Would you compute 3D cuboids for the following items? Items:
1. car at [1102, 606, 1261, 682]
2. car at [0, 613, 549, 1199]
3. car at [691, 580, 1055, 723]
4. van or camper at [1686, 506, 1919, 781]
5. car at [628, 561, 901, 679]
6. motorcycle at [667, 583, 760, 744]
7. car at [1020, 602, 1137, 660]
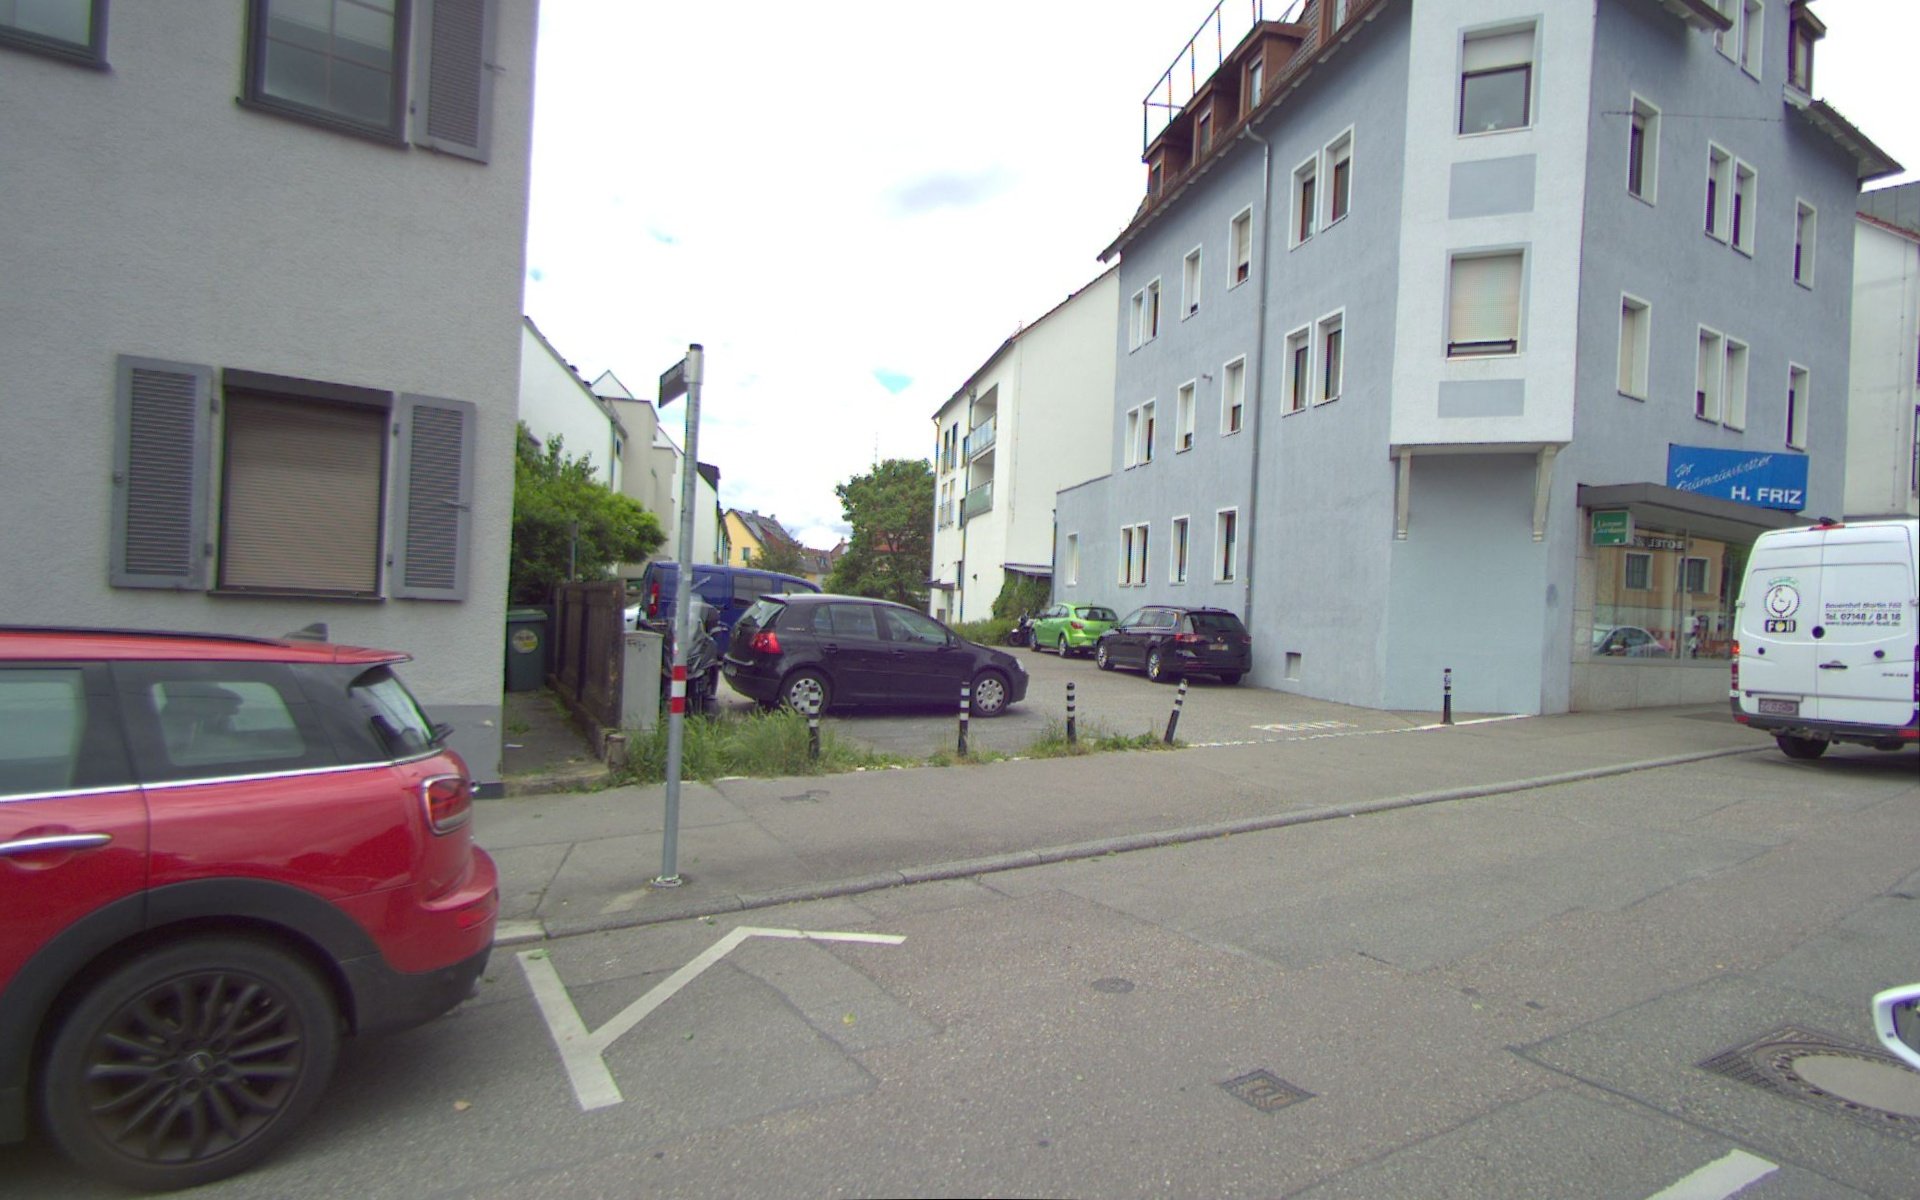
[{"bbox_3d":[4.349,0.829,20.373,1.692,1.370,3.992,1,-1,-11],"label":"car"},{"bbox_3d":[-3.556,0.796,2.752,4.301,1.493,1.850,1,-3,-30],"label":"car"},{"bbox_3d":[-1.114,0.610,13.337,4.363,1.573,1.984,1,2,-30],"label":"car"},{"bbox_3d":[11.811,0.493,11.667,6.109,2.642,2.317,1,0,-18],"label":"van or camper"},{"bbox_3d":[-3.524,0.383,18.289,4.561,1.934,1.828,1,-1,-26],"label":"car"},{"bbox_3d":[-2.661,0.611,10.814,0.823,1.493,2.826,1,-1,-14],"label":"motorcycle"},{"bbox_3d":[3.071,0.794,26.983,1.964,1.411,4.408,1,-1,-10],"label":"car"}]
